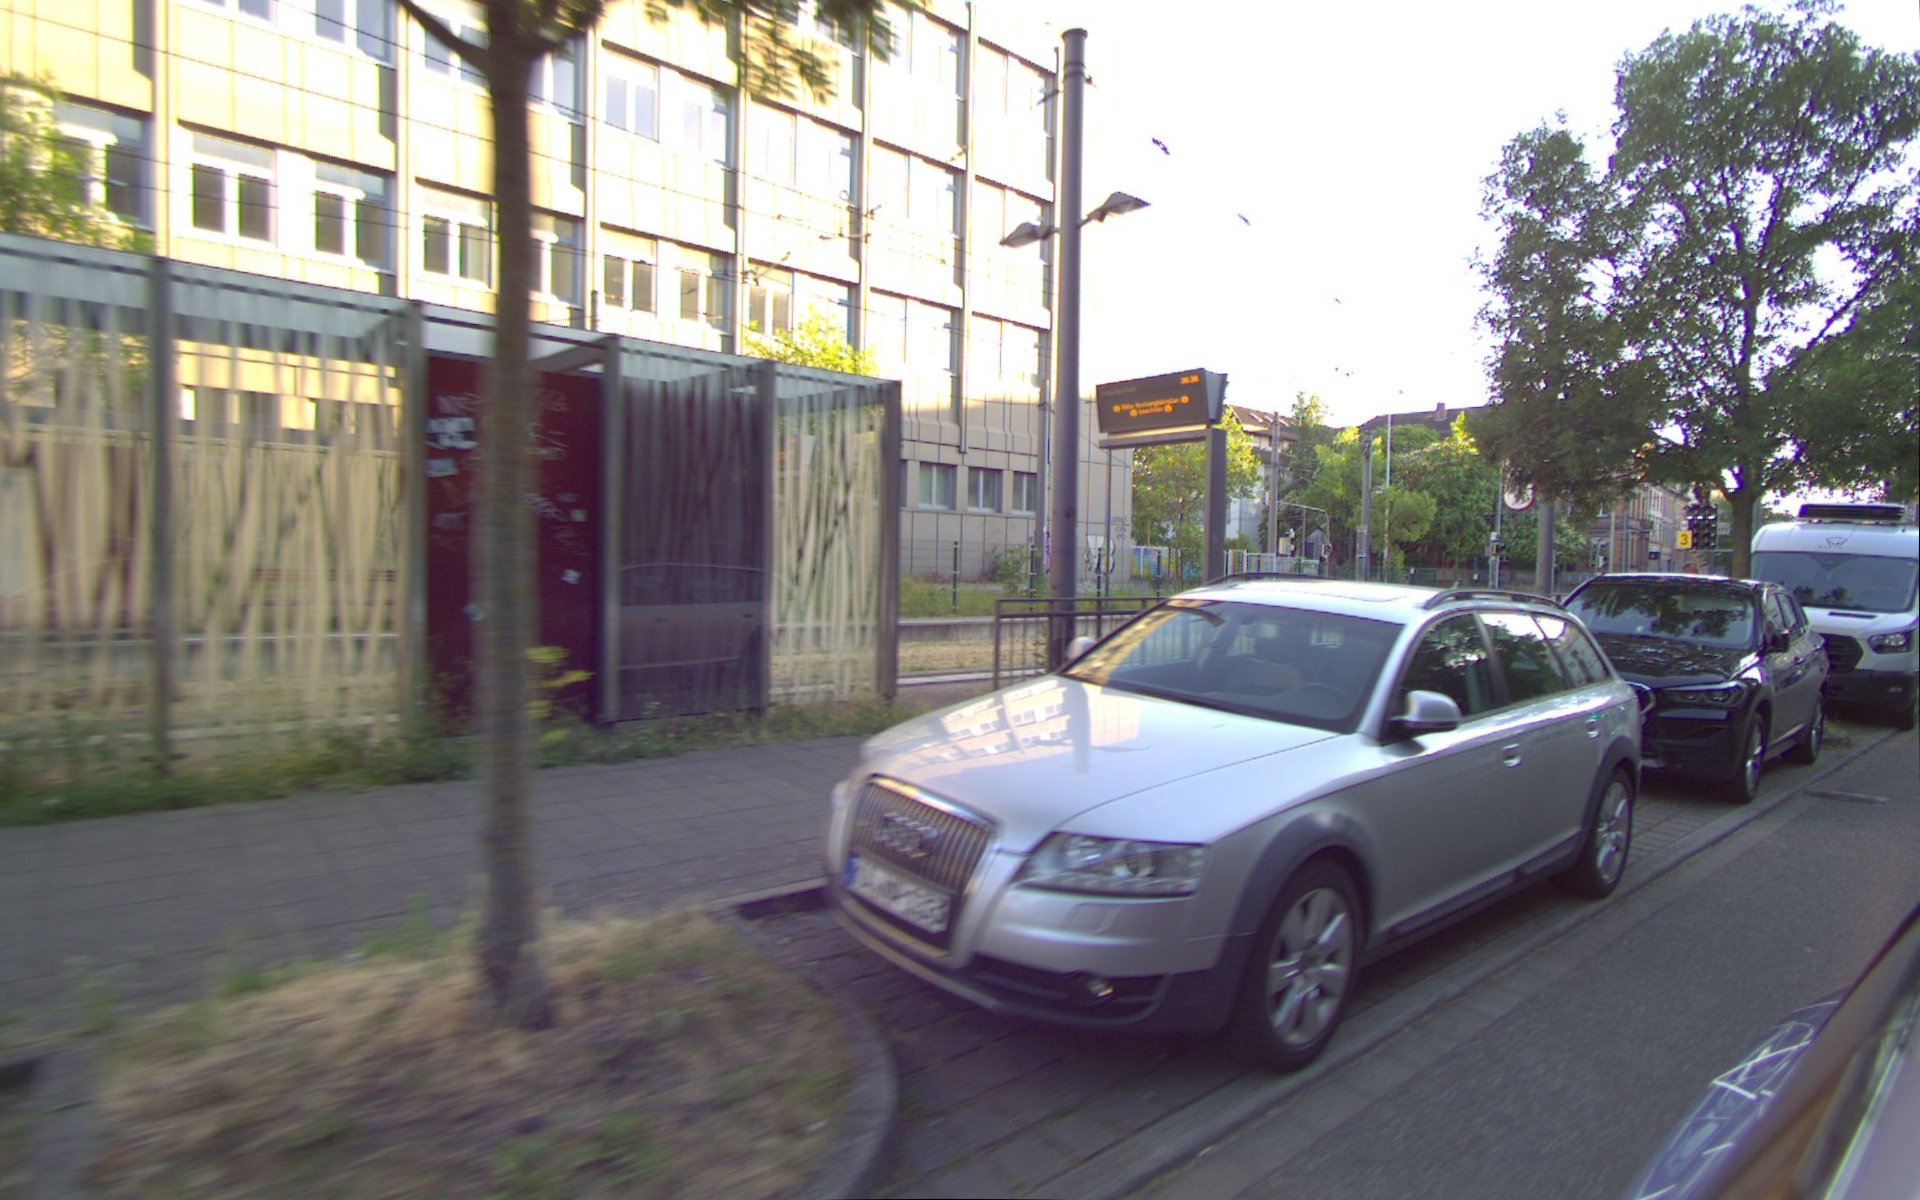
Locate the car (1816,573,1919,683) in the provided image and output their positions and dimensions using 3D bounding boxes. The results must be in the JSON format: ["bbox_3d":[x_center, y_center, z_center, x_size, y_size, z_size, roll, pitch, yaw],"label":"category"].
[{"bbox_3d":[15.955,0.416,17.094,3.946,1.602,1.751,-1,6,-44],"label":"car"}]

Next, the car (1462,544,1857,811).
[{"bbox_3d":[6.027,0.437,8.519,4.194,1.663,1.711,-1,5,-42],"label":"car"}]

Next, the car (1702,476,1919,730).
[{"bbox_3d":[11.678,-0.072,13.178,5.342,2.688,2.055,-1,6,-42],"label":"car"}]

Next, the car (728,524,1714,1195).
[{"bbox_3d":[1.538,0.550,4.547,4.695,1.513,1.802,0,6,-40],"label":"car"}]

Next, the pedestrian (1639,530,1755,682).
[{"bbox_3d":[10.247,0.064,14.108,0.962,2.038,0.807,1,2,5],"label":"pedestrian"}]
